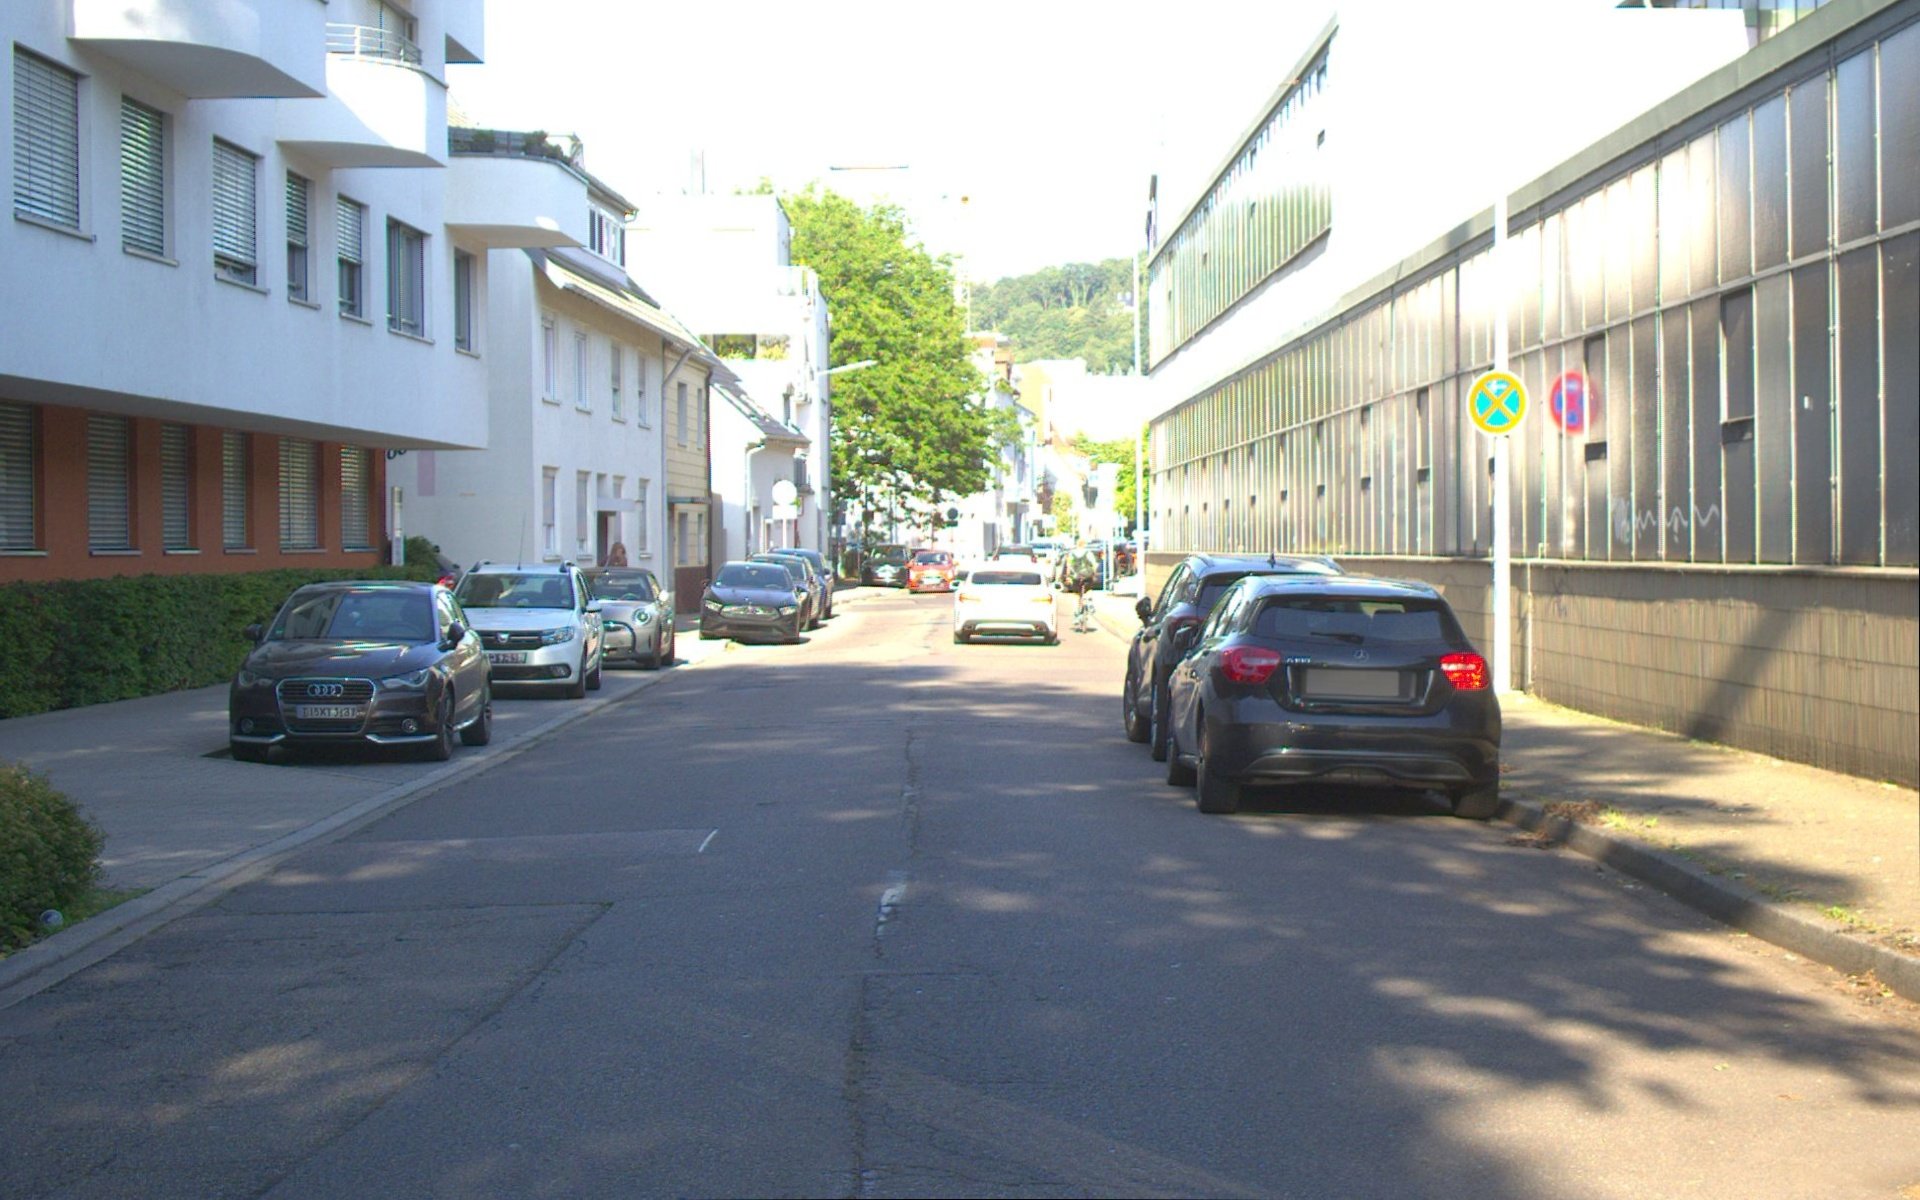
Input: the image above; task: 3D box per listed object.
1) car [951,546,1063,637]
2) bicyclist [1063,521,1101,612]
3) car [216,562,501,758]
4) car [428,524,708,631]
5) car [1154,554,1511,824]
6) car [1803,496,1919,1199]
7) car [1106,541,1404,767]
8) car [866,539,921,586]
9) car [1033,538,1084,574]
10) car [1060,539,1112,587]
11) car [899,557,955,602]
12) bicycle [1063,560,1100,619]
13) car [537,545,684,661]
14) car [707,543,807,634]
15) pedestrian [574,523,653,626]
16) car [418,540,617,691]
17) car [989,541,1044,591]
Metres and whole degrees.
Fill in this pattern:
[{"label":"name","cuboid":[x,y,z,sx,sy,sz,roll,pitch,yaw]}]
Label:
[{"label":"car","cuboid":[0.780,-0.153,59.703,1.842,1.486,4.144,1,0,0]},{"label":"bicyclist","cuboid":[2.435,-0.675,68.706,0.698,1.784,1.040,1,0,2]},{"label":"car","cuboid":[-4.861,0.450,28.220,1.674,1.428,3.771,2,0,-1]},{"label":"car","cuboid":[-6.320,-0.364,55.723,4.320,1.530,1.690,2,0,-1]},{"label":"car","cuboid":[2.286,0.500,22.191,1.750,1.486,4.621,2,0,0]},{"label":"car","cuboid":[2.458,0.680,4.116,1.750,1.629,4.002,1,0,-2]},{"label":"car","cuboid":[2.251,0.380,27.344,1.807,1.581,4.405,2,0,-2]},{"label":"car","cuboid":[-2.617,-1.514,136.209,1.853,1.785,4.607,1,1,2]},{"label":"car","cuboid":[4.300,-1.887,149.538,1.842,1.486,4.143,1,0,6]},{"label":"car","cuboid":[4.342,-1.291,118.958,1.629,1.581,4.069,-2,0,1]},{"label":"car","cuboid":[-1.134,-0.715,119.689,1.842,1.486,4.144,1,0,0]},{"label":"bicycle","cuboid":[2.414,-0.210,68.537,0.698,1.126,2.402,1,0,2]},{"label":"car","cuboid":[-5.001,0.026,49.552,1.667,1.530,3.857,2,0,0]},{"label":"car","cuboid":[-3.679,-0.223,62.462,1.684,1.530,4.335,2,0,-3]},{"label":"pedestrian","cuboid":[-6.302,-0.459,62.515,0.862,1.812,1.130,5,2,24]},{"label":"car","cuboid":[-5.089,0.152,40.087,1.857,1.581,4.622,2,0,-3]},{"label":"car","cuboid":[2.116,-1.300,129.847,1.853,1.785,4.608,1,1,-1]}]
